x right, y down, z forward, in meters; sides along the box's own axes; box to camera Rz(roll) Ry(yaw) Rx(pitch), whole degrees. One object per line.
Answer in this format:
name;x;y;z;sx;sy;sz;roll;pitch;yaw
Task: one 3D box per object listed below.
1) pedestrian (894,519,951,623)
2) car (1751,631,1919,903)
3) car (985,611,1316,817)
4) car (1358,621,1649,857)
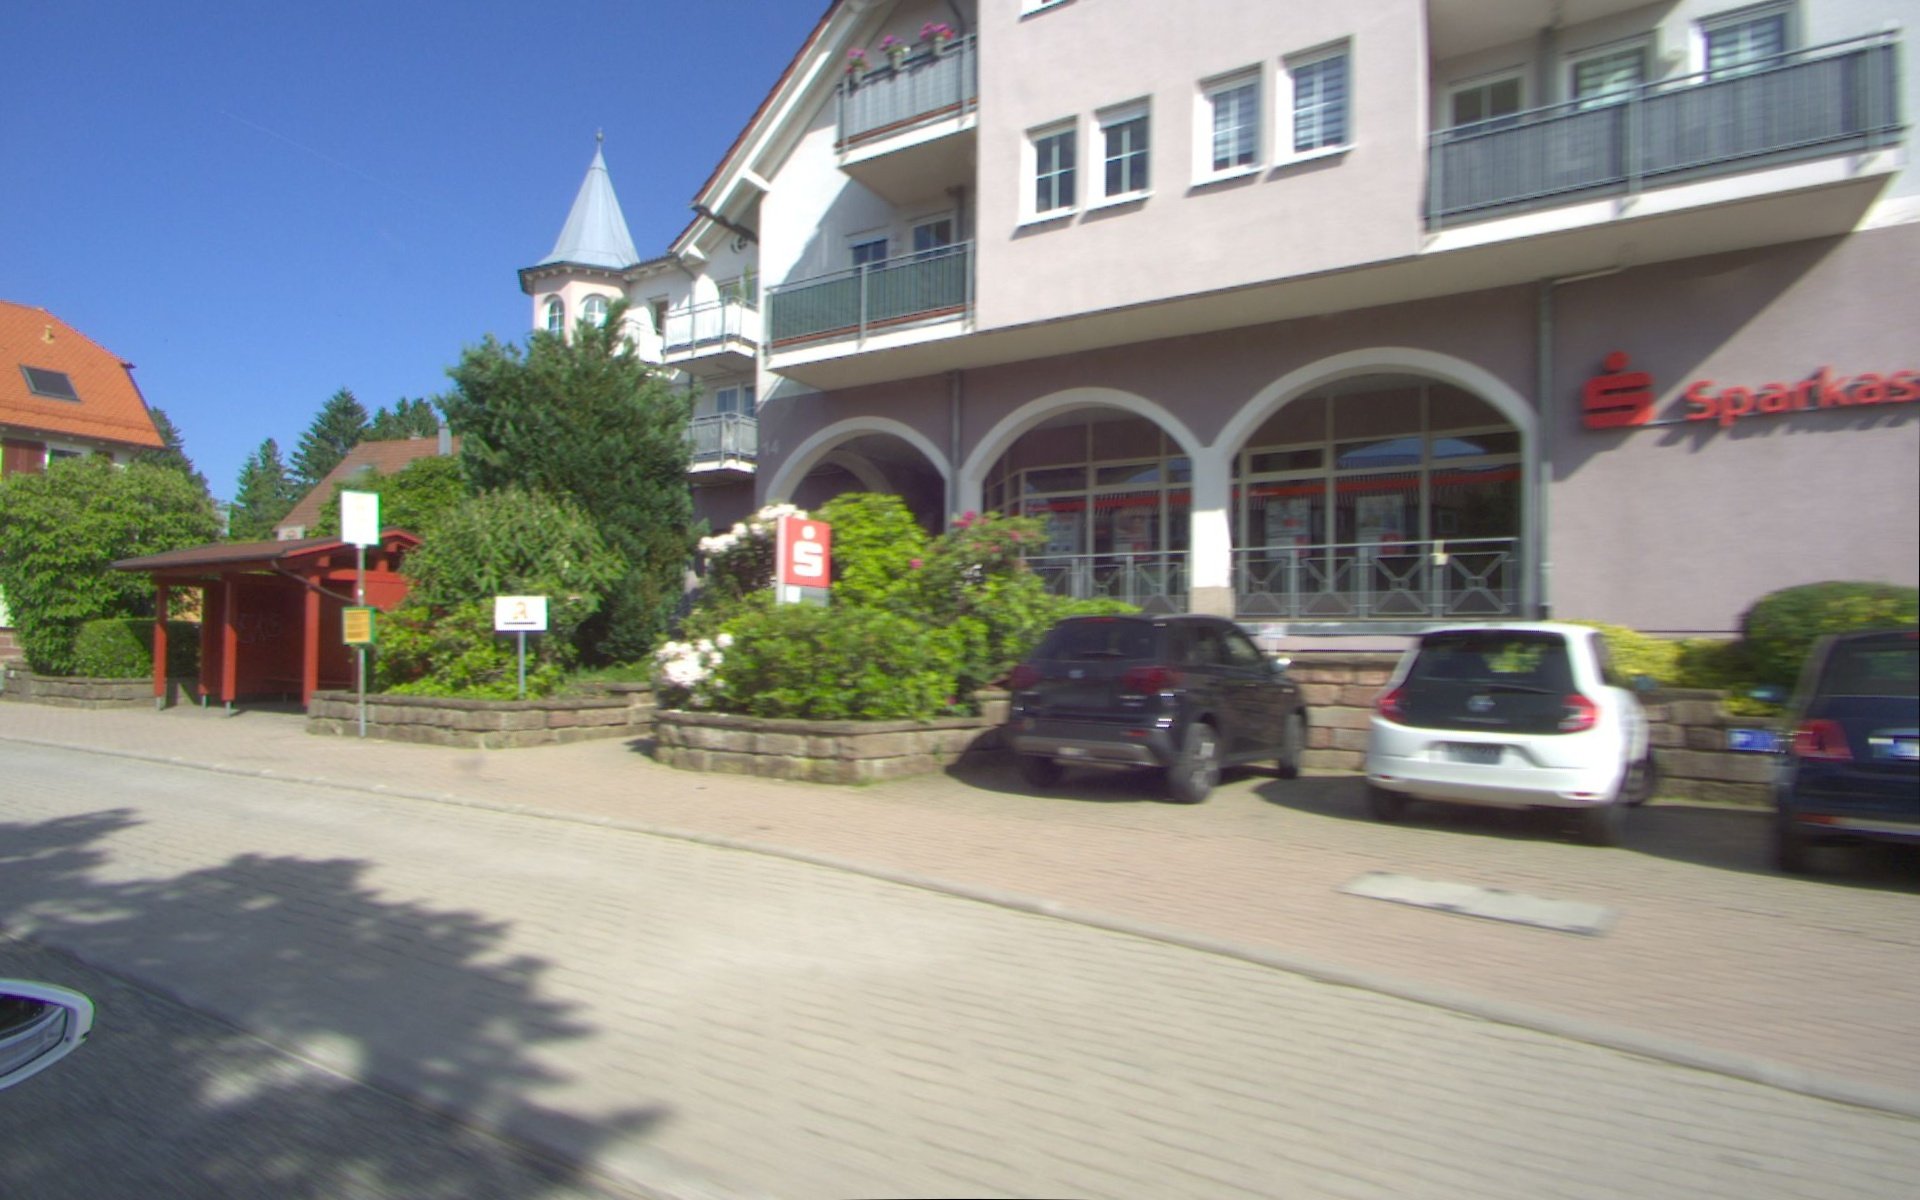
pedestrian;-0.644;-0.487;17.177;0.746;1.746;0.611;1;1;33
car;6.294;0.969;6.659;1.562;1.436;3.547;-1;-3;38
car;2.058;0.922;9.798;1.854;1.568;3.979;-1;-1;33
car;4.542;0.922;8.155;1.608;1.488;3.222;-1;-1;38
